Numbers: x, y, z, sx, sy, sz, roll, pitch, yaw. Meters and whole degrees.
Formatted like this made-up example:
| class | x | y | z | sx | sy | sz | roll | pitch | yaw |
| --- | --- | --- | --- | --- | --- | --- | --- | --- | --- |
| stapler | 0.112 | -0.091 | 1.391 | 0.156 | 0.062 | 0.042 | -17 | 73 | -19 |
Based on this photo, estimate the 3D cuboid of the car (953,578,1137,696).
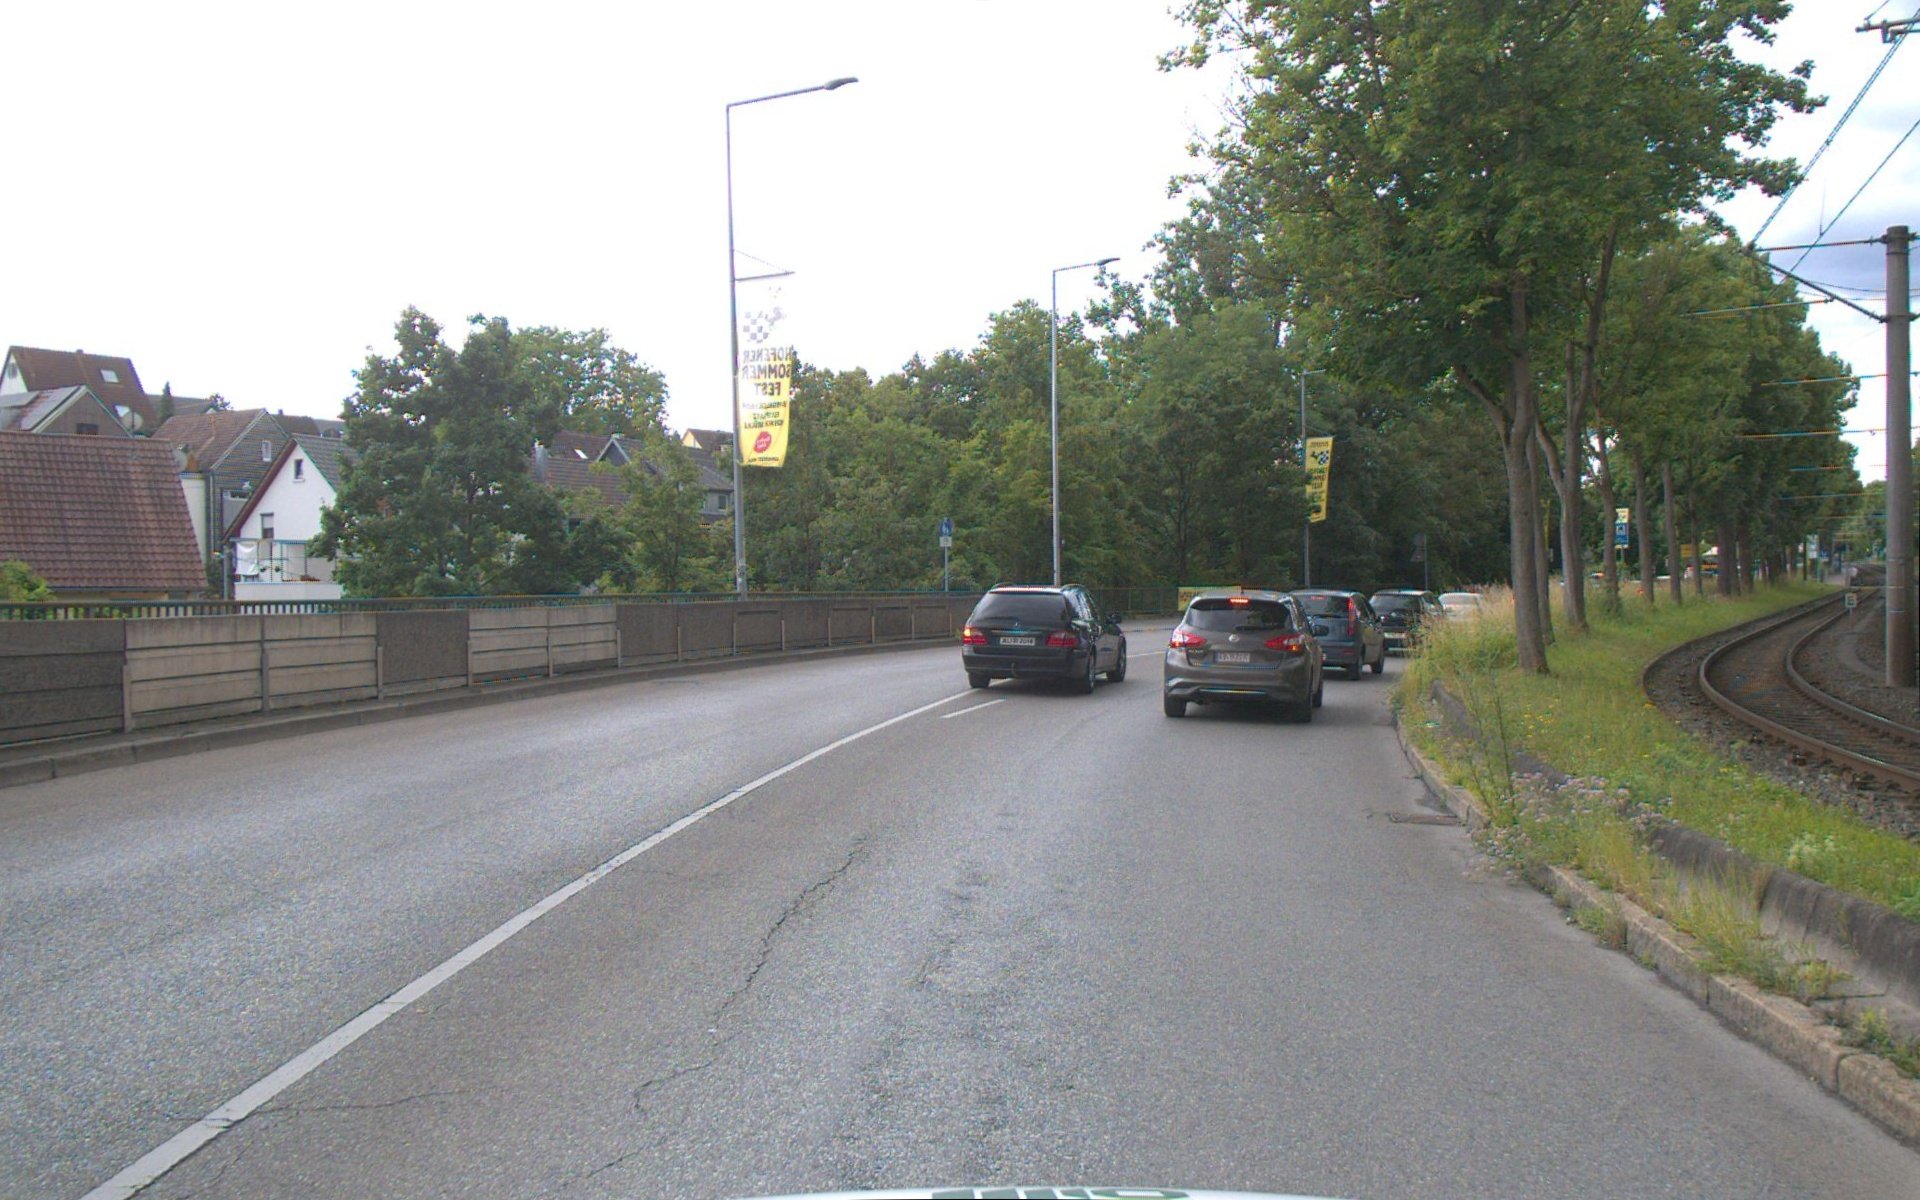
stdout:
| class | x | y | z | sx | sy | sz | roll | pitch | yaw |
| --- | --- | --- | --- | --- | --- | --- | --- | --- | --- |
| car | 1.365 | 0.472 | 24.469 | 1.812 | 1.512 | 4.424 | 2 | 1 | 15 |

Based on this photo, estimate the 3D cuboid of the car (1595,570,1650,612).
| class | x | y | z | sx | sy | sz | roll | pitch | yaw |
| --- | --- | --- | --- | --- | --- | --- | --- | --- | --- |
| car | 30.695 | -0.405 | 76.568 | 1.891 | 1.892 | 3.994 | -1 | 0 | 28 |

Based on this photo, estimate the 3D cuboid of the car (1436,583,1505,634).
| class | x | y | z | sx | sy | sz | roll | pitch | yaw |
| --- | --- | --- | --- | --- | --- | --- | --- | --- | --- |
| car | 14.623 | 0.227 | 47.270 | 1.470 | 1.388 | 3.585 | -1 | 0 | 24 |

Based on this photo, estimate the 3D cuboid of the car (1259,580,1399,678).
| class | x | y | z | sx | sy | sz | roll | pitch | yaw |
| --- | --- | --- | --- | --- | --- | --- | --- | --- | --- |
| car | 6.628 | 0.486 | 29.398 | 1.854 | 1.601 | 4.000 | 1 | 0 | 21 |

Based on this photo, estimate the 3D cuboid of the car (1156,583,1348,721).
| class | x | y | z | sx | sy | sz | roll | pitch | yaw |
| --- | --- | --- | --- | --- | --- | --- | --- | --- | --- |
| car | 3.775 | 0.594 | 20.849 | 1.738 | 1.520 | 4.001 | 2 | 0 | 19 |

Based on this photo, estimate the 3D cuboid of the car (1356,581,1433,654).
| class | x | y | z | sx | sy | sz | roll | pitch | yaw |
| --- | --- | --- | --- | --- | --- | --- | --- | --- | --- |
| car | 9.893 | 0.388 | 37.499 | 1.544 | 1.565 | 4.002 | -1 | 0 | 17 |
